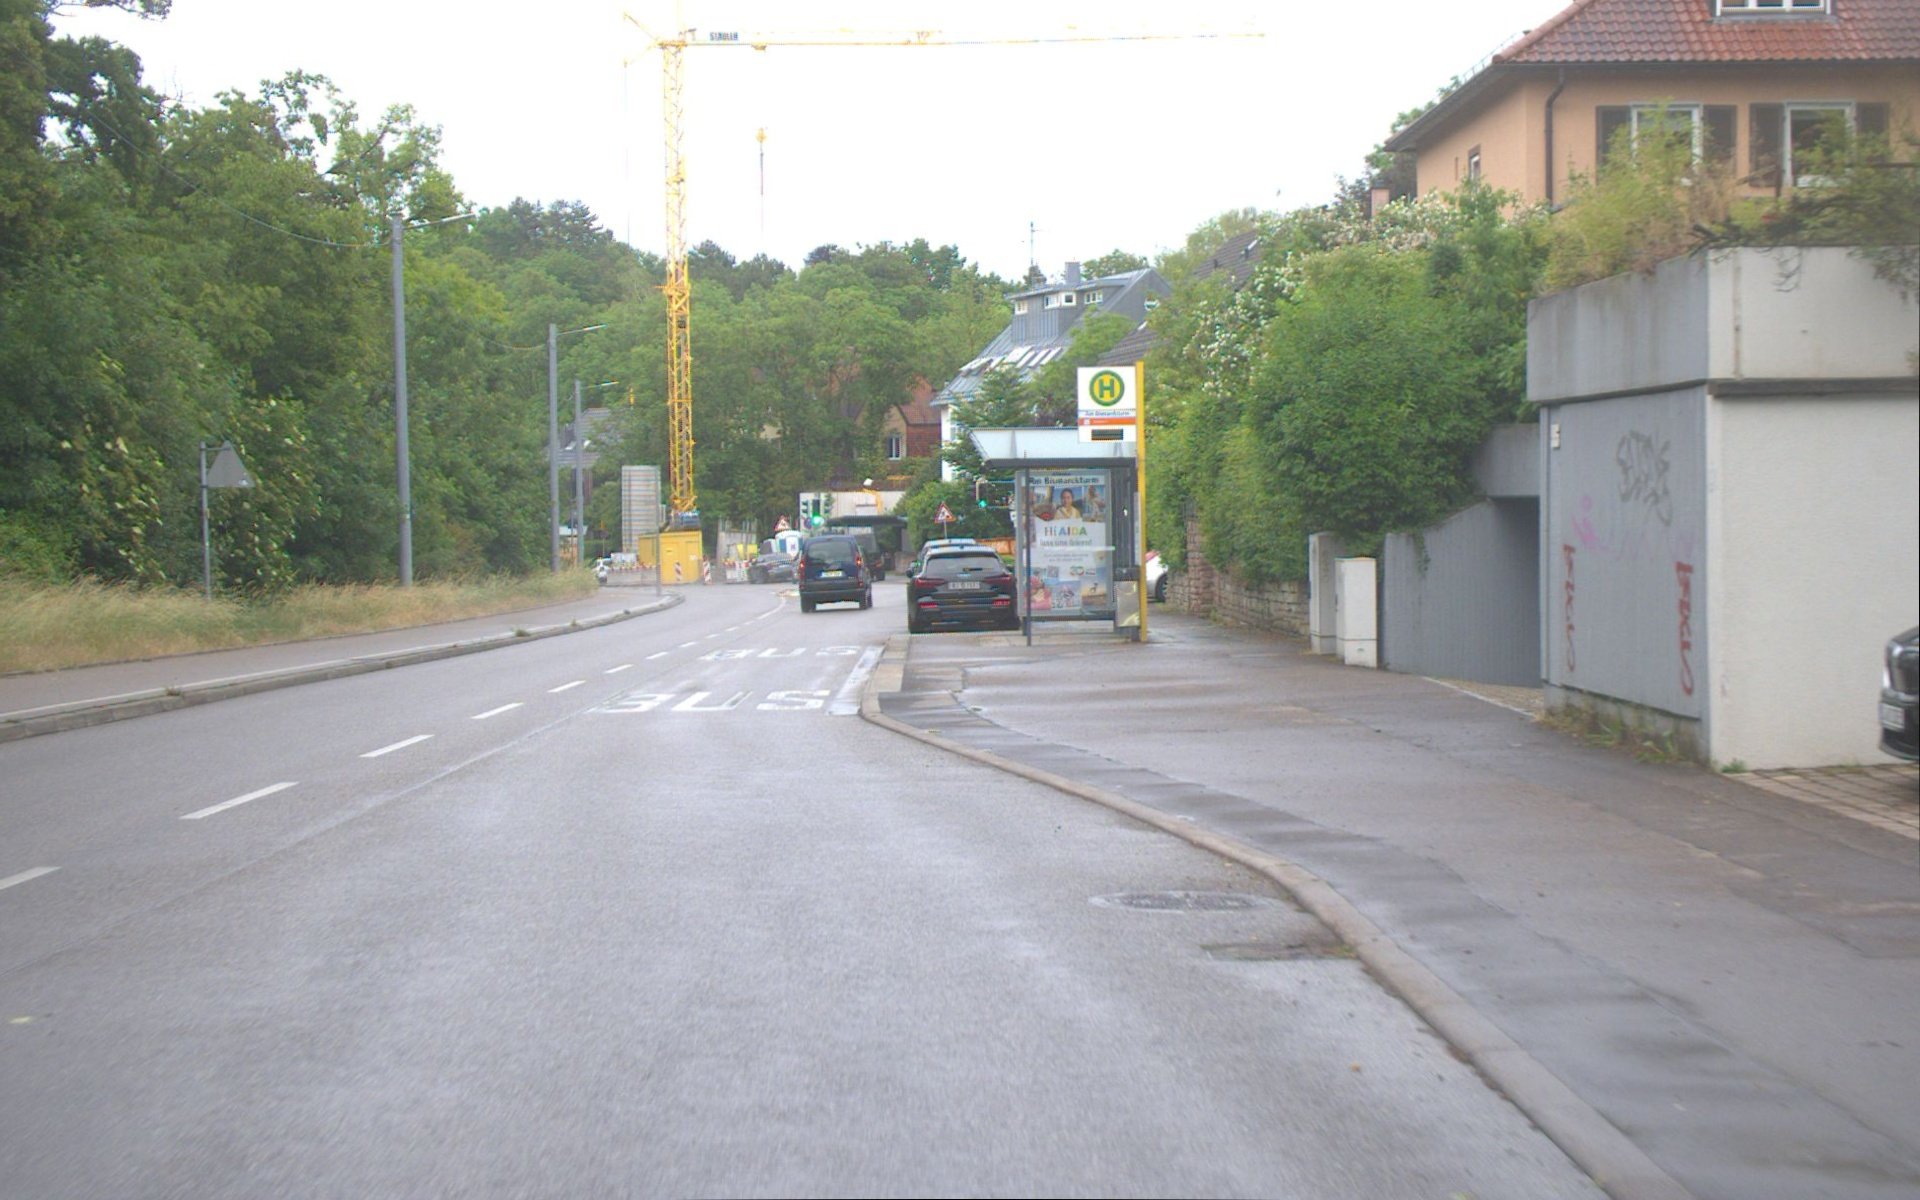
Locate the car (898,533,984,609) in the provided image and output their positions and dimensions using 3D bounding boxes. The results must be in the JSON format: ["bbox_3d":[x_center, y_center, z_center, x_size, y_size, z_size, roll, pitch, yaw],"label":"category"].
[{"bbox_3d":[-0.436,-0.703,82.637,1.993,1.766,4.114,0,1,0],"label":"car"}]

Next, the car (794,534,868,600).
[{"bbox_3d":[-3.161,-0.831,84.778,1.667,1.588,3.683,0,1,0],"label":"car"}]

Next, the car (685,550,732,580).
[{"bbox_3d":[-12.868,-1.796,175.666,1.739,1.546,3.857,0,1,-14],"label":"car"}]

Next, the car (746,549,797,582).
[{"bbox_3d":[-9.012,-1.635,164.112,1.739,1.546,3.857,0,1,-14],"label":"car"}]

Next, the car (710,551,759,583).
[{"bbox_3d":[-11.169,-1.651,170.252,1.739,1.547,3.857,2,0,-14],"label":"car"}]

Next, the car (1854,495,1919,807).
[{"bbox_3d":[6.639,0.256,17.433,3.769,1.547,1.609,0,1,-1],"label":"car"}]

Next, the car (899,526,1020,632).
[{"bbox_3d":[-0.007,-0.376,59.075,1.993,1.766,4.114,0,1,0],"label":"car"}]
